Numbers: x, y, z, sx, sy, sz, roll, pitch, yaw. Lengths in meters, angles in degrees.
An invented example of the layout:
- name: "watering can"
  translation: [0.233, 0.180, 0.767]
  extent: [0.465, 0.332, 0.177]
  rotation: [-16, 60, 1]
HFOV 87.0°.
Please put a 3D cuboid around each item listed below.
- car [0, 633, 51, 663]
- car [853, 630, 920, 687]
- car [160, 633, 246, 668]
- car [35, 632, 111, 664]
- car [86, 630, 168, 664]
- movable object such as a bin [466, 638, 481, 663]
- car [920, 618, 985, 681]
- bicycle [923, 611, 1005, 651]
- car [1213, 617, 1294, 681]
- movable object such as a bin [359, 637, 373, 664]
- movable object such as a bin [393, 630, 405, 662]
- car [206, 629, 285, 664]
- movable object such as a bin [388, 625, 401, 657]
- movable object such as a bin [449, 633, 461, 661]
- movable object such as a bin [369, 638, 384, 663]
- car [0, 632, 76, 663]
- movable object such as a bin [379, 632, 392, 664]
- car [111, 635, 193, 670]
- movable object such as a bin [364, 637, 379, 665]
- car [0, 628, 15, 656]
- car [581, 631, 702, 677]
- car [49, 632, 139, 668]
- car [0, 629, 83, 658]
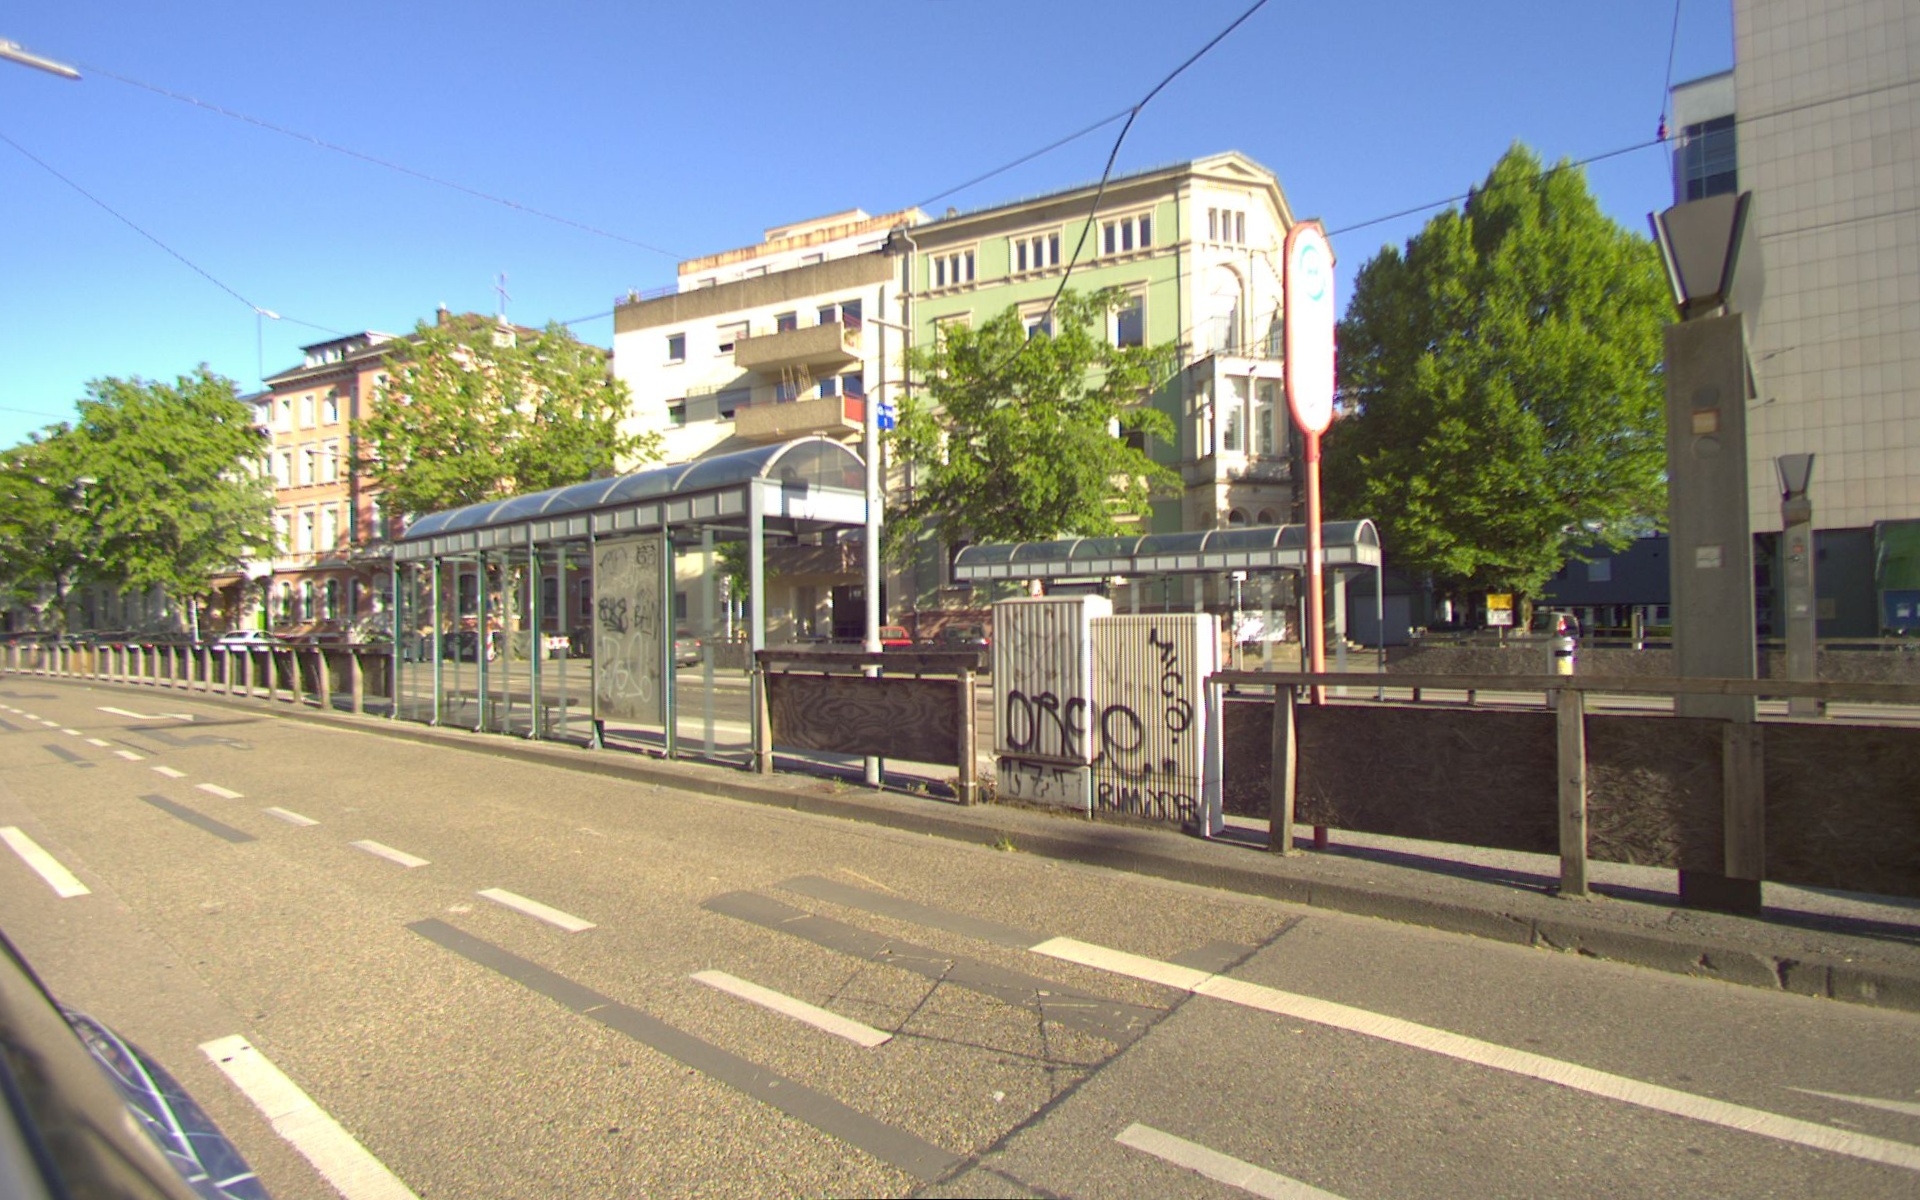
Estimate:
- name: "car"
  translation: [-59.972, 3.026, 63.888]
  extent: [1.748, 1.667, 3.872]
  rotation: [-1, 0, -1]
- name: "car"
  translation: [-2.222, 1.679, 30.292]
  extent: [1.845, 1.436, 4.520]
  rotation: [-1, 0, -5]
- name: "car"
  translation: [-39.407, 2.582, 52.779]
  extent: [1.664, 1.519, 3.925]
  rotation: [-2, 1, -4]
- name: "car"
  translation: [-51.958, 2.785, 59.340]
  extent: [1.682, 1.544, 3.284]
  rotation: [-2, 2, -3]
- name: "car"
  translation: [-46.205, 2.569, 56.261]
  extent: [1.609, 1.629, 3.993]
  rotation: [-2, 0, -7]
- name: "movable object such as a bin"
  translation: [-22.027, 2.296, 45.787]
  extent: [0.551, 1.105, 0.376]
  rotation: [0, -1, 34]
- name: "car"
  translation: [-0.293, 1.411, 30.376]
  extent: [1.566, 1.654, 4.520]
  rotation: [-1, 0, -5]
- name: "bicycle"
  translation: [0.127, 1.130, 36.900]
  extent: [2.995, 1.409, 0.713]
  rotation: [-2, -2, 27]
- name: "car"
  translation: [8.248, 1.321, 28.765]
  extent: [1.572, 1.581, 4.504]
  rotation: [-1, 0, 8]
- name: "movable object such as a bin"
  translation: [-26.872, 2.277, 45.781]
  extent: [0.639, 1.212, 0.375]
  rotation: [-2, -2, 40]
- name: "movable object such as a bin"
  translation: [-25.272, 2.057, 45.578]
  extent: [0.387, 1.437, 0.375]
  rotation: [-2, -2, 40]
- name: "car"
  translation: [-36.449, 2.335, 51.768]
  extent: [1.708, 1.533, 3.924]
  rotation: [-2, 1, -9]
- name: "movable object such as a bin"
  translation: [-25.566, 1.862, 45.745]
  extent: [0.385, 1.437, 0.375]
  rotation: [-2, -2, 40]
- name: "movable object such as a bin"
  translation: [-23.740, 2.219, 47.596]
  extent: [0.387, 1.322, 0.376]
  rotation: [-2, -2, 34]
- name: "movable object such as a bin"
  translation: [-25.868, 2.236, 44.893]
  extent: [0.639, 1.076, 0.375]
  rotation: [-2, -2, 40]
- name: "car"
  translation: [-57.173, 2.915, 62.557]
  extent: [1.748, 1.667, 3.871]
  rotation: [-1, 0, -1]
- name: "movable object such as a bin"
  translation: [-26.055, 2.166, 45.912]
  extent: [0.387, 1.437, 0.375]
  rotation: [-2, -2, 40]
- name: "car"
  translation: [-43.835, 2.812, 54.998]
  extent: [1.609, 1.629, 3.993]
  rotation: [-2, 0, -7]
- name: "movable object such as a bin"
  translation: [-26.379, 2.269, 45.337]
  extent: [0.639, 1.251, 0.375]
  rotation: [-2, -2, 40]
- name: "car"
  translation: [-65.918, 2.886, 67.547]
  extent: [1.760, 1.812, 4.202]
  rotation: [-1, 1, -1]
- name: "car"
  translation: [-11.300, 1.895, 35.825]
  extent: [4.278, 1.421, 1.693]
  rotation: [-2, 1, 32]
- name: "car"
  translation: [-49.674, 2.831, 58.162]
  extent: [1.682, 1.735, 4.290]
  rotation: [-1, 1, -4]
- name: "car"
  translation: [-54.556, 2.545, 60.084]
  extent: [1.745, 1.496, 3.823]
  rotation: [-1, 0, -1]
